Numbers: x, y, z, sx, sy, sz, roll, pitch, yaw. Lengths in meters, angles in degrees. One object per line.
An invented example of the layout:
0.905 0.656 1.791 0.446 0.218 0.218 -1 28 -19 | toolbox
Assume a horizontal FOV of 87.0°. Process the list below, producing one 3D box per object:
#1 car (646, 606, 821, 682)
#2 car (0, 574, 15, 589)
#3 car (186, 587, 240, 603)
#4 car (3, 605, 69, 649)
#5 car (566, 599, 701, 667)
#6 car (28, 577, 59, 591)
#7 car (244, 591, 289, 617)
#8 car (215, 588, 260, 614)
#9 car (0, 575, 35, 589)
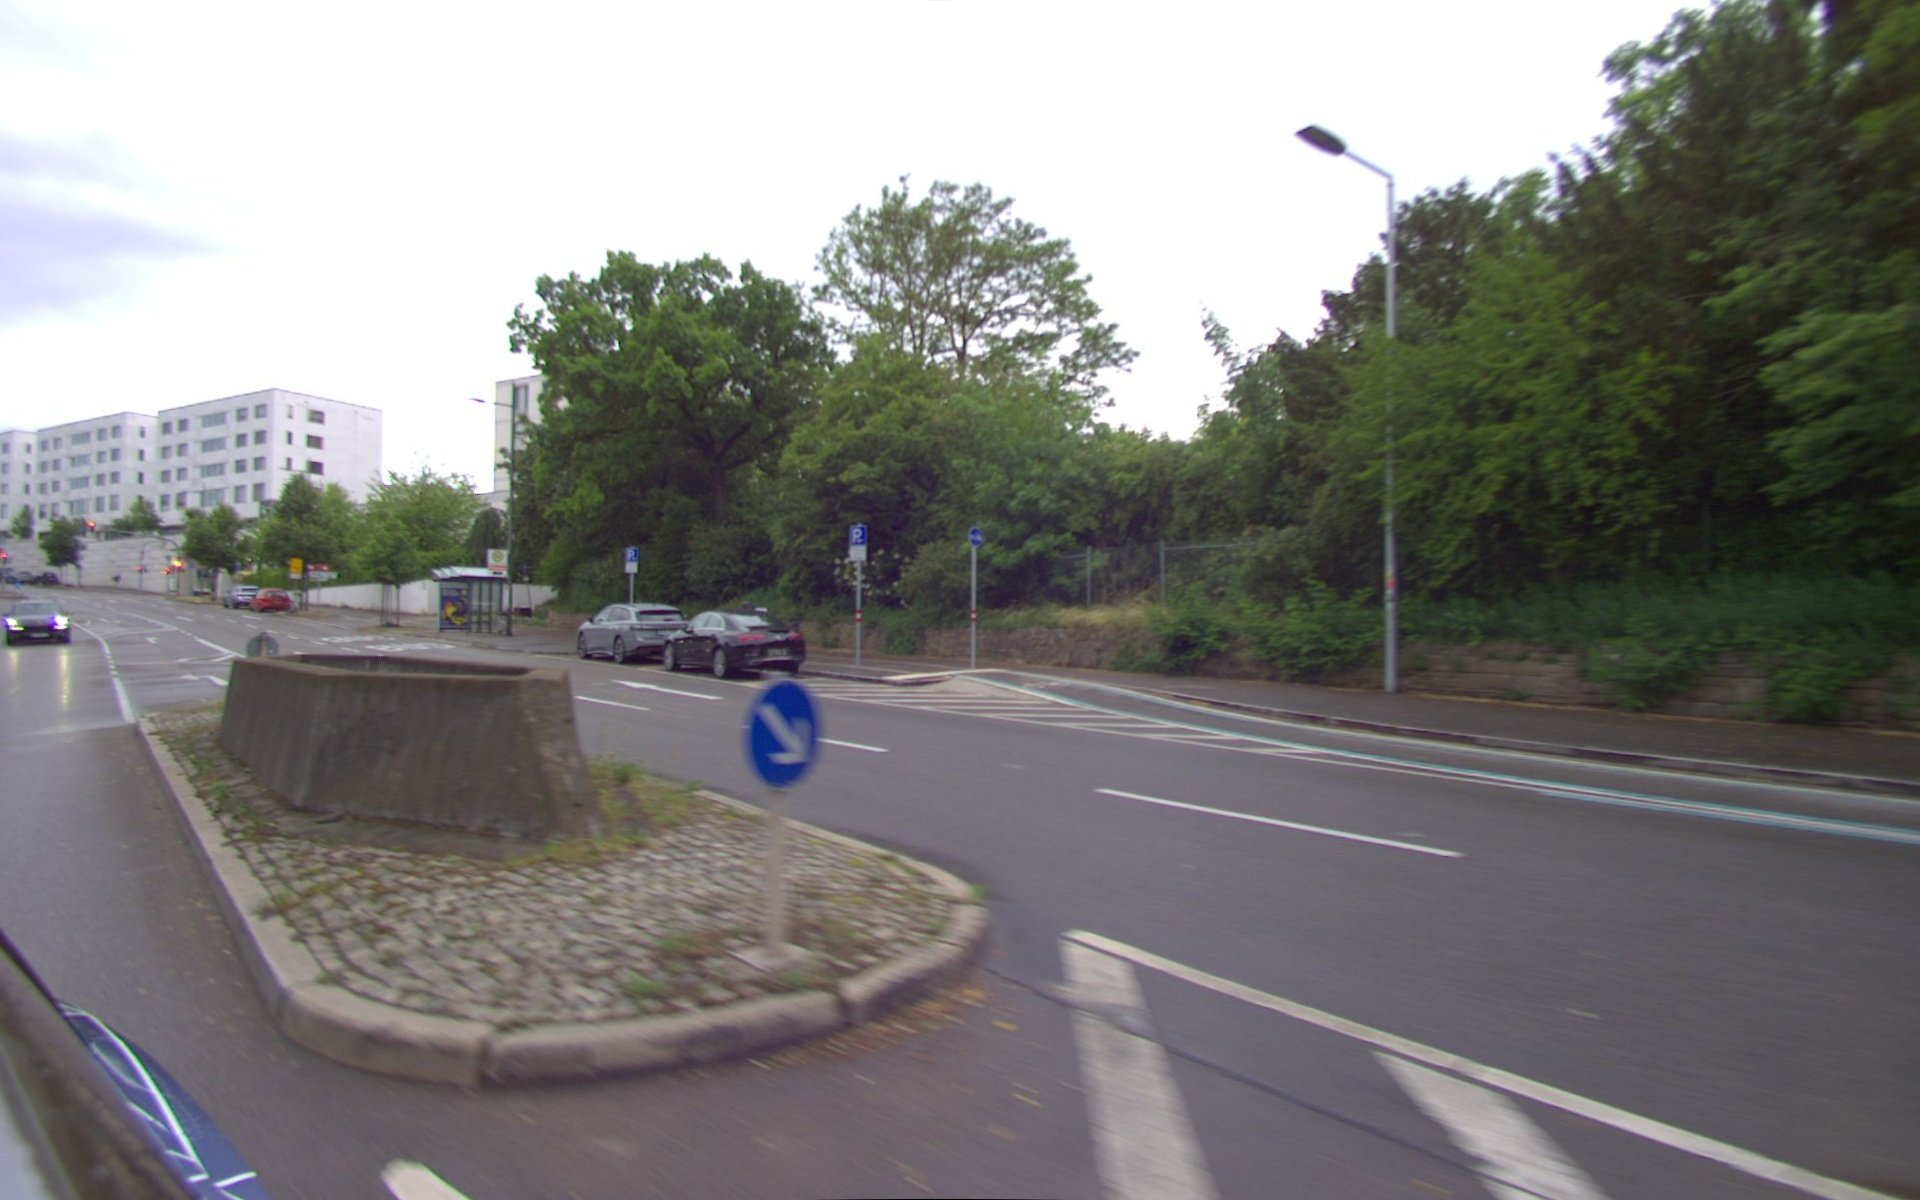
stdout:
-5.168 0.885 22.589 1.882 1.425 4.792 -1 1 -39 | car
-111.895 -2.204 117.600 3.979 1.644 1.774 2 0 26 | car
-82.285 -0.534 111.562 1.989 1.664 4.309 2 0 25 | car
-37.276 1.031 40.787 1.804 1.605 4.003 -2 1 -45 | car
-8.911 0.815 27.351 1.817 1.601 4.938 -1 1 -39 | car
-102.421 -1.756 113.120 2.681 1.470 1.667 2 0 26 | car
-46.652 0.244 68.047 4.218 1.598 1.646 2 1 44 | car
-52.084 0.036 72.920 4.885 1.665 1.744 2 3 44 | car
-107.881 -2.089 115.633 3.979 1.489 1.847 2 1 26 | car
